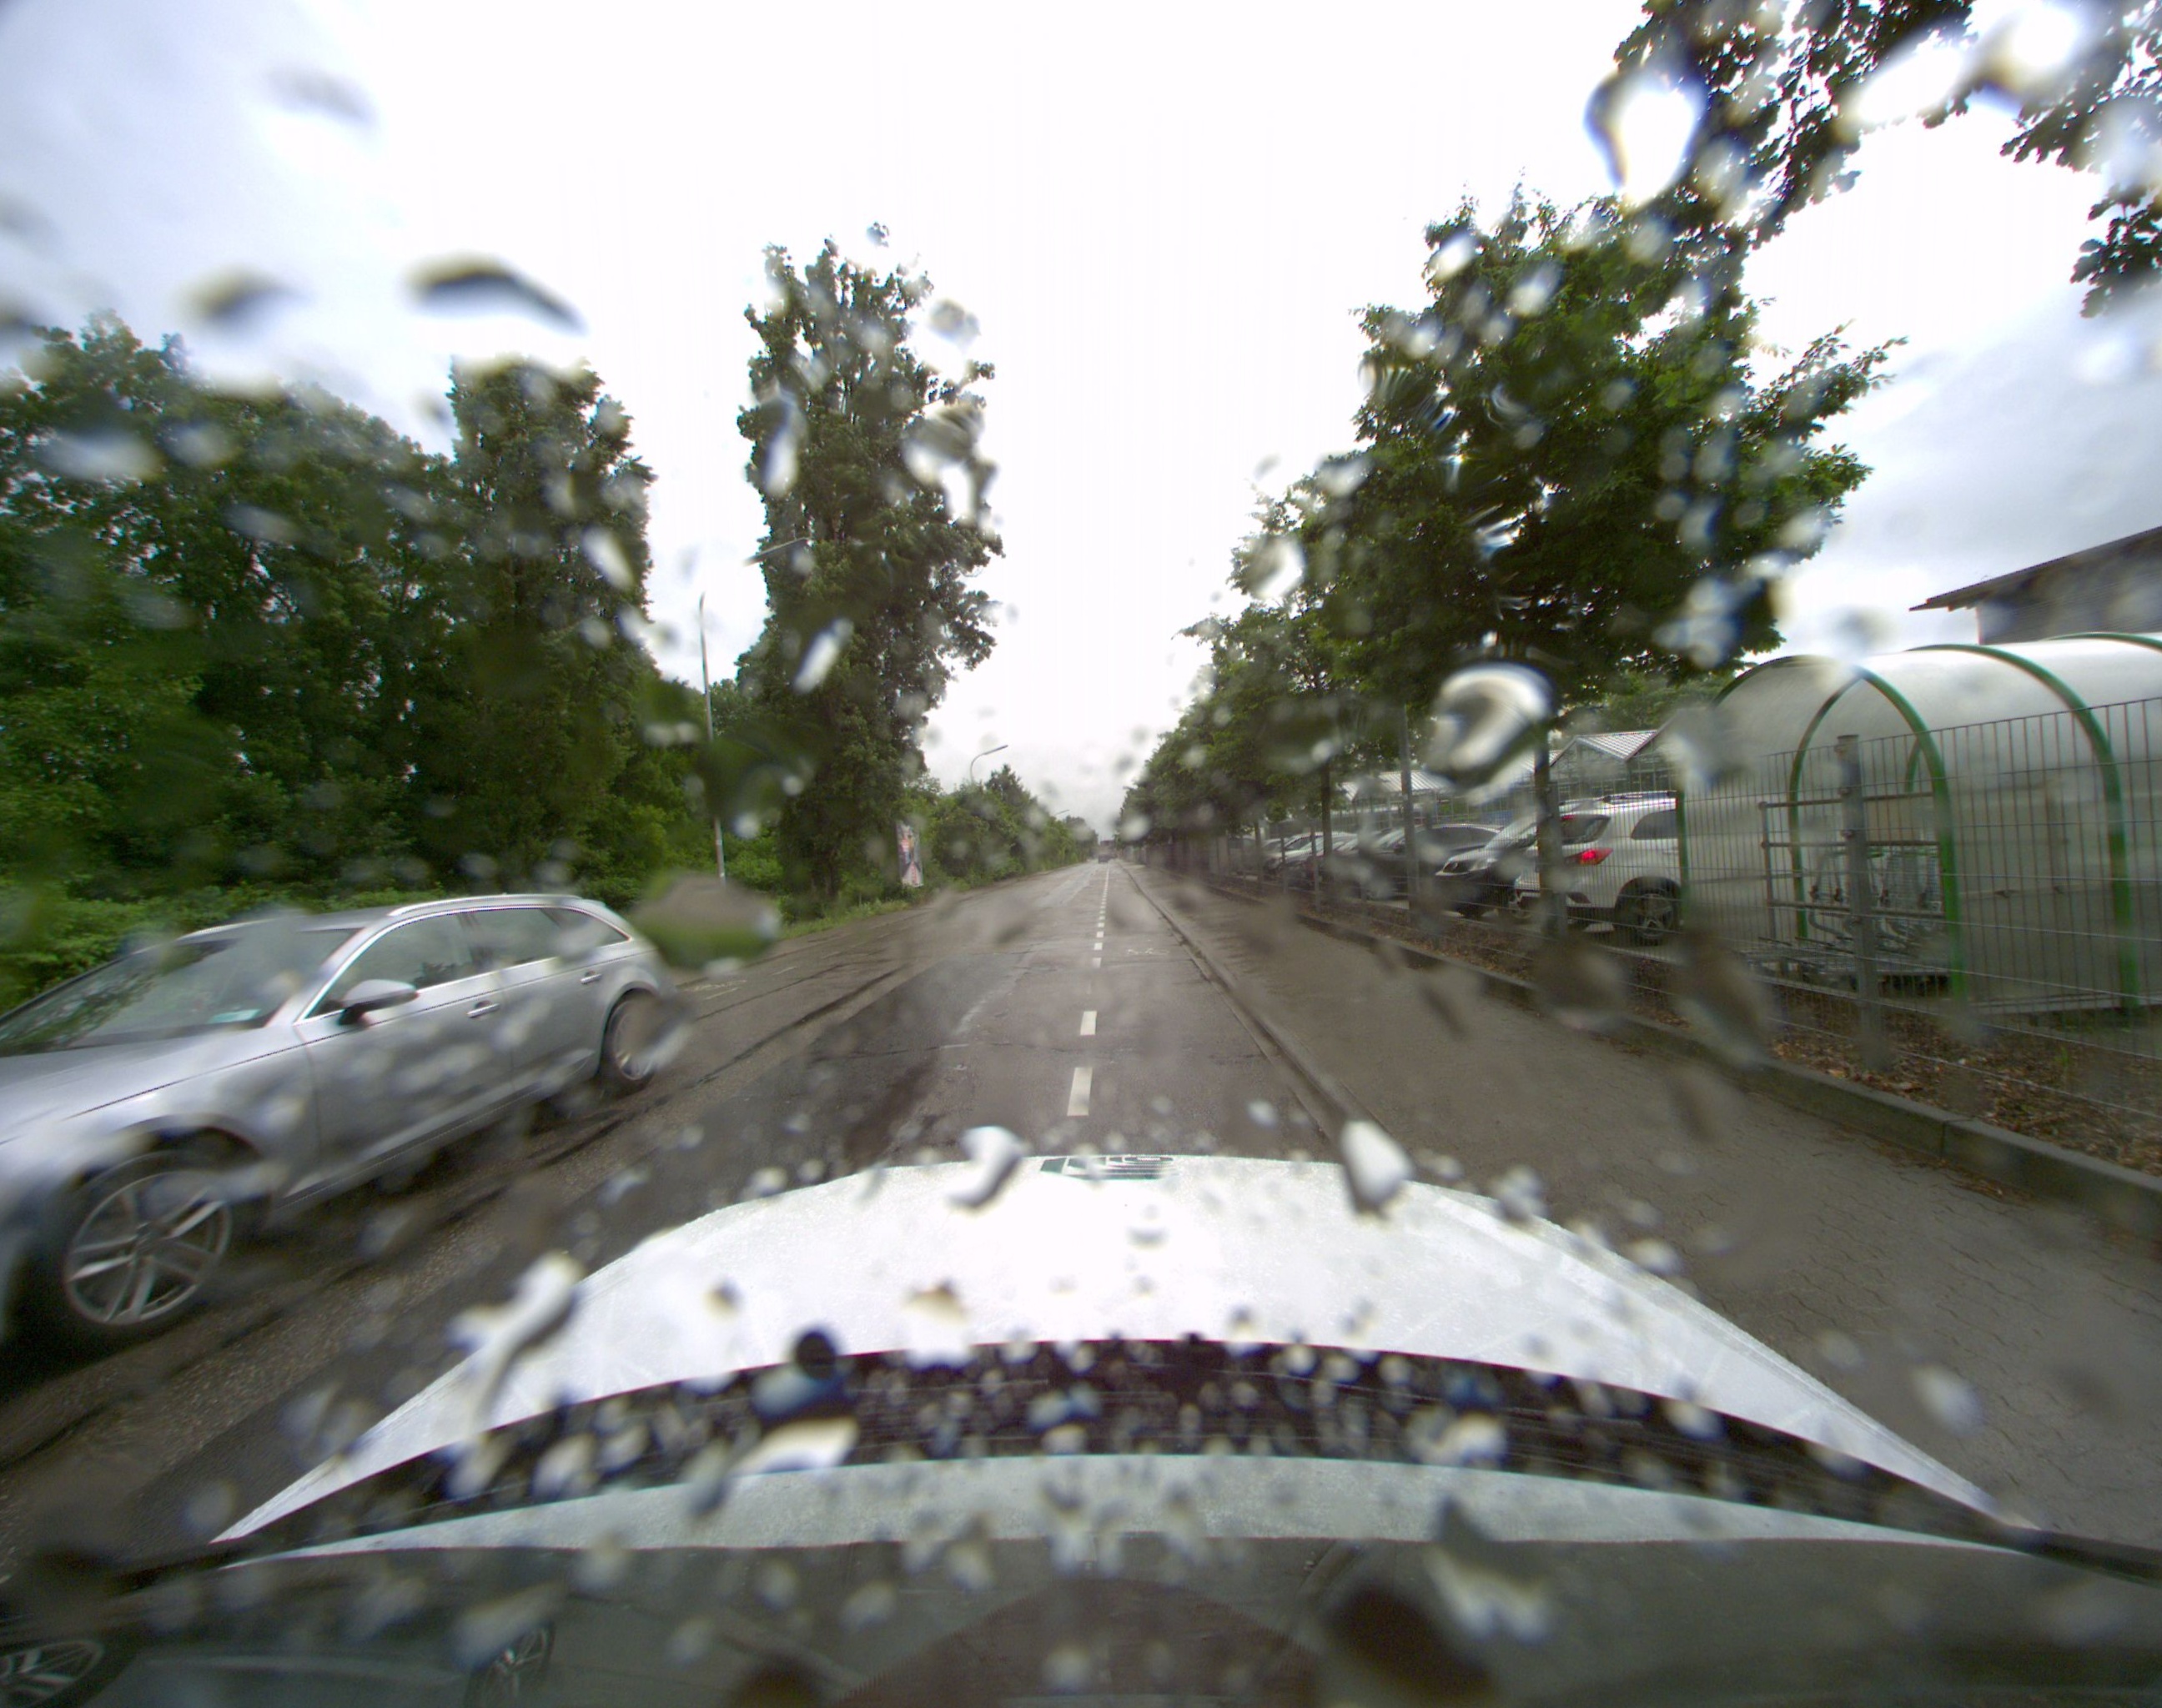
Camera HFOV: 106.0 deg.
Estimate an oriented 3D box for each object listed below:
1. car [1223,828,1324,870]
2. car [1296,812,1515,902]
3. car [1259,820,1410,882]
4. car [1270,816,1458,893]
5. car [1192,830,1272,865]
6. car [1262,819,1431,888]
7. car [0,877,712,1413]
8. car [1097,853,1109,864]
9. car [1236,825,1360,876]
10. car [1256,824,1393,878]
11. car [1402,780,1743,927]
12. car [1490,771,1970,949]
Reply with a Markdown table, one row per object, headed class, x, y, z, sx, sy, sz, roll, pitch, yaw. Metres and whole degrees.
| class | x | y | z | sx | sy | sz | roll | pitch | yaw |
| --- | --- | --- | --- | --- | --- | --- | --- | --- | --- |
| car | 8.921 | -0.230 | 38.018 | 4.196 | 1.588 | 1.823 | -4 | 0 | -1 |
| car | 7.279 | 0.048 | 18.502 | 4.202 | 1.618 | 1.820 | -4 | 0 | -6 |
| car | 8.127 | -0.106 | 26.298 | 4.202 | 1.618 | 1.820 | -4 | 0 | -6 |
| car | 7.351 | 0.007 | 21.375 | 4.202 | 1.618 | 1.820 | -4 | 0 | -6 |
| car | 8.716 | -0.349 | 47.347 | 4.196 | 1.677 | 1.823 | -4 | 0 | -1 |
| car | 7.586 | -0.019 | 23.513 | 4.202 | 1.618 | 1.820 | -4 | 0 | -6 |
| car | -4.008 | 1.018 | 4.355 | 1.726 | 1.450 | 4.384 | -7 | 0 | 3 |
| car | 4.039 | 0.815 | 151.265 | 1.986 | 1.910 | 4.202 | -5 | -1 | 1 |
| car | 8.302 | -0.140 | 31.359 | 4.202 | 1.588 | 1.820 | -4 | 0 | -6 |
| car | 8.532 | -0.108 | 28.765 | 4.202 | 1.534 | 1.820 | -4 | 0 | -6 |
| car | 7.470 | -0.030 | 12.627 | 4.202 | 1.794 | 1.820 | -4 | 0 | -6 |
| car | 7.489 | 0.065 | 9.739 | 4.194 | 1.601 | 1.824 | -5 | 0 | 1 |
